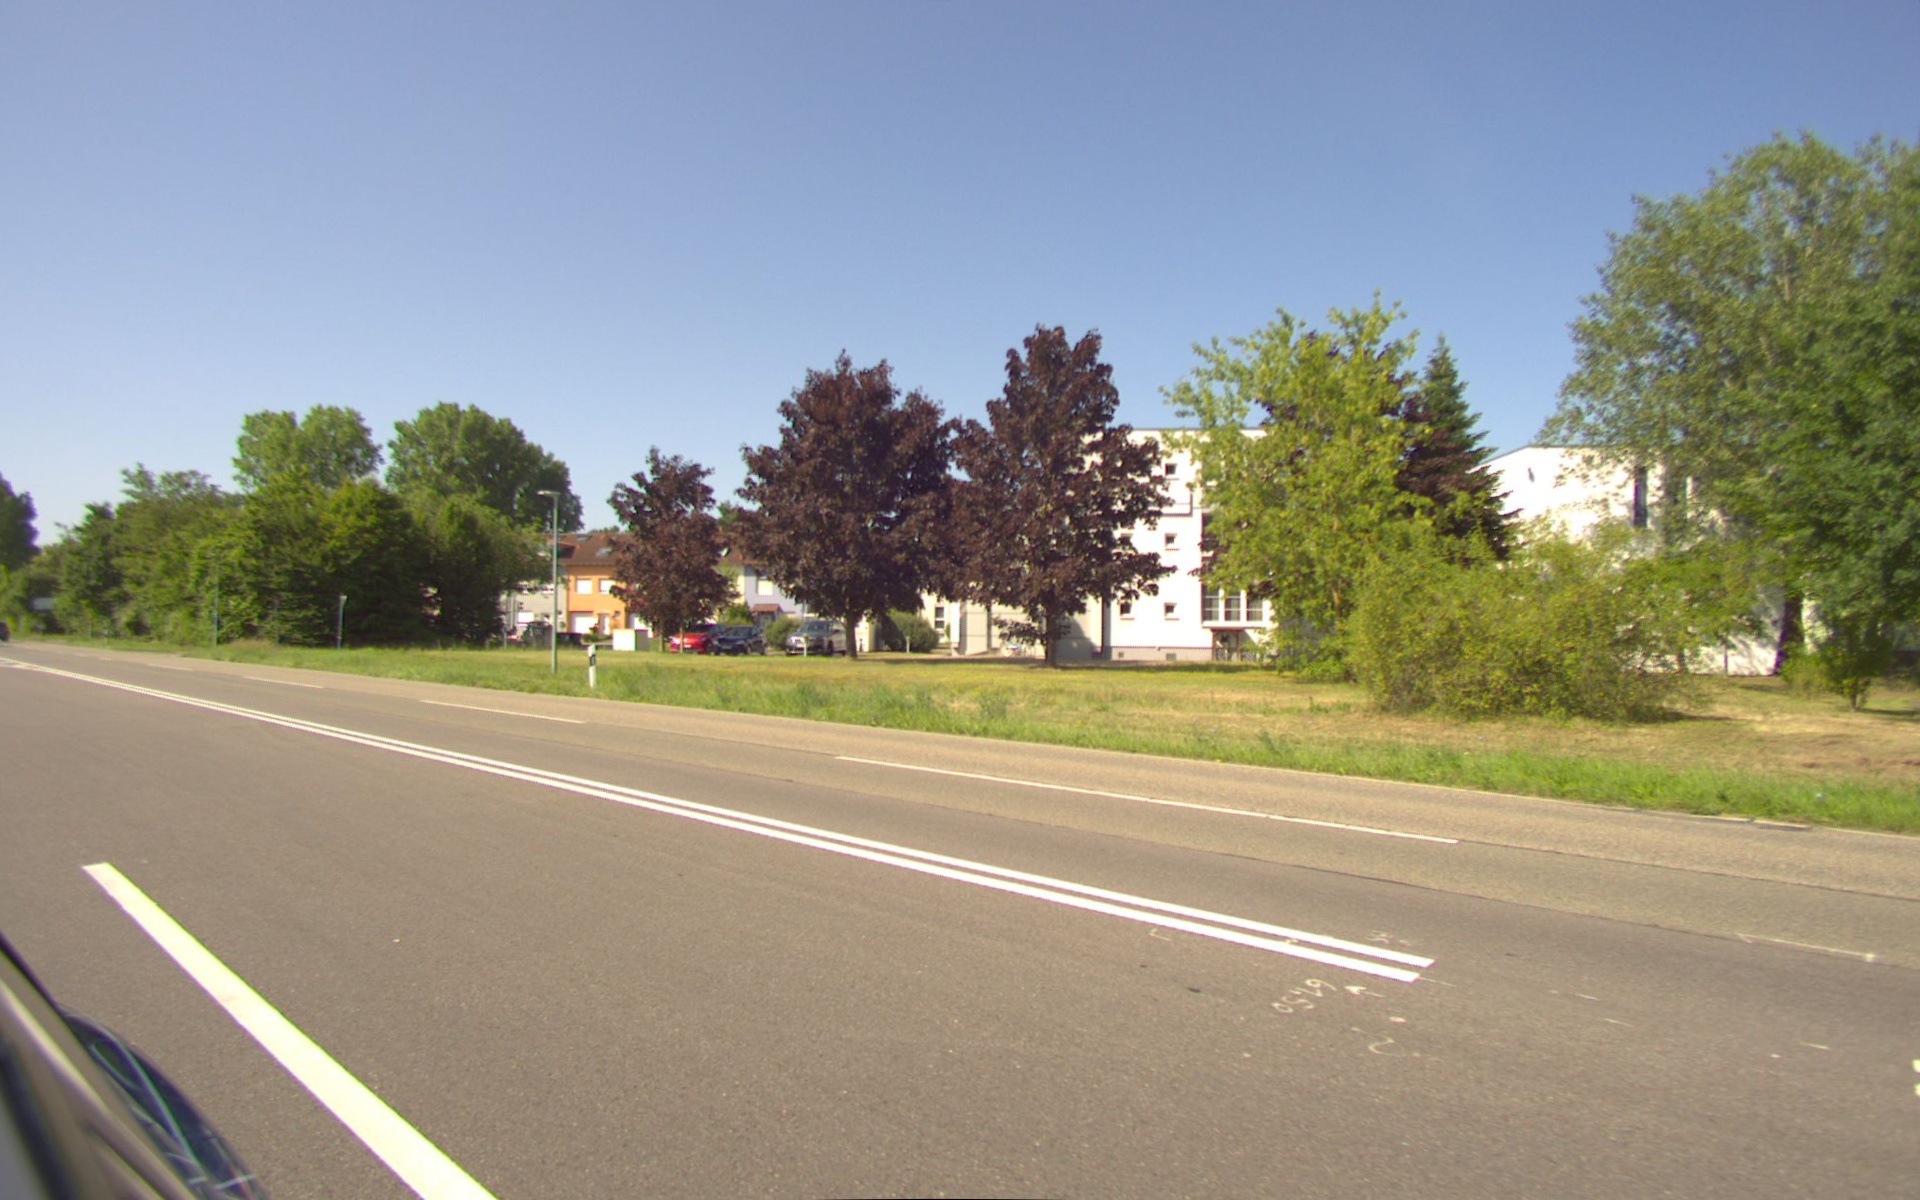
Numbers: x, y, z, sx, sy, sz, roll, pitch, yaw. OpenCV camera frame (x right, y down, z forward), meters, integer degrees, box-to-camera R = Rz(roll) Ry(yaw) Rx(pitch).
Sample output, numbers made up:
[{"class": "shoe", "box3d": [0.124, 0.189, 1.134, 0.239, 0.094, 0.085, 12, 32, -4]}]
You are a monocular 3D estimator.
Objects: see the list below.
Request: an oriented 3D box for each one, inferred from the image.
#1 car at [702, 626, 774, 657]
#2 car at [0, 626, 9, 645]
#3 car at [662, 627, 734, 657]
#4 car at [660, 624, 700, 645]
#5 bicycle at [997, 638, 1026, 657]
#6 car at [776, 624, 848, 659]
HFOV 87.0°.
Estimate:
[{"class": "car", "box3d": [-10.084, 1.907, 46.334, 1.803, 1.381, 3.986, -1, -3, 11]}, {"class": "car", "box3d": [-74.567, 2.739, 77.867, 3.999, 1.422, 1.745, -3, -3, 42]}, {"class": "car", "box3d": [-12.379, 2.007, 48.057, 1.803, 1.381, 3.986, -1, -3, 11]}, {"class": "car", "box3d": [-23.006, 2.810, 83.227, 1.974, 1.595, 3.996, 0, 1, 4]}, {"class": "bicycle", "box3d": [2.283, 2.096, 44.757, 1.238, 0.818, 0.408, -1, -2, 18]}, {"class": "car", "box3d": [-6.128, 1.755, 42.385, 1.803, 1.381, 3.986, -1, -3, 11]}]
